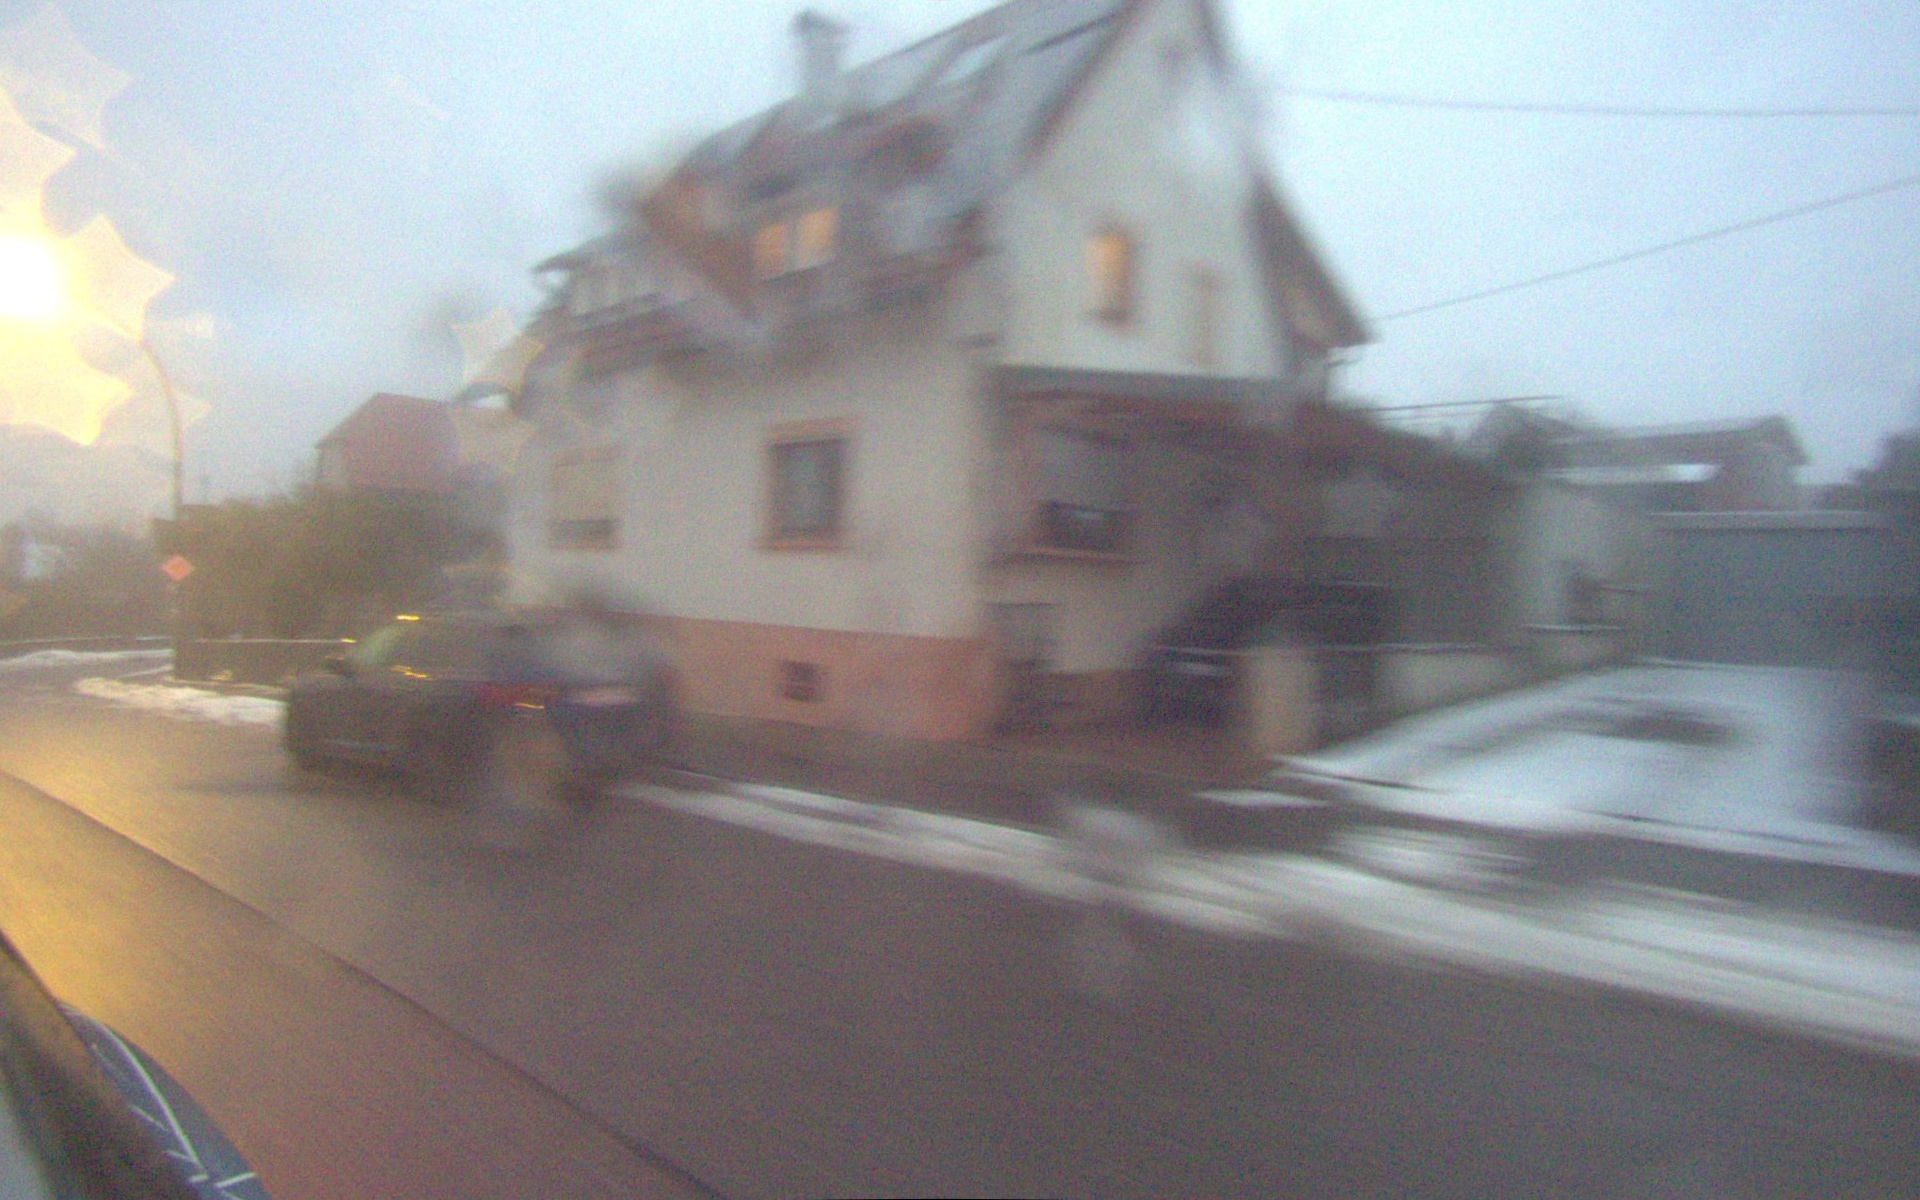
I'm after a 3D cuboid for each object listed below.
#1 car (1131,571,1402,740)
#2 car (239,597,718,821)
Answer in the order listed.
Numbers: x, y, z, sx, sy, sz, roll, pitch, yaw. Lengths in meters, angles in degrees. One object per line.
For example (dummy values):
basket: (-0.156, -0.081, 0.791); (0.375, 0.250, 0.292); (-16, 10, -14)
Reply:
car: (3.948, 0.527, 12.650); (1.793, 1.660, 3.946); (2, 4, 41)
car: (-4.607, 0.776, 9.169); (5.388, 1.437, 1.858); (-2, 0, 40)
